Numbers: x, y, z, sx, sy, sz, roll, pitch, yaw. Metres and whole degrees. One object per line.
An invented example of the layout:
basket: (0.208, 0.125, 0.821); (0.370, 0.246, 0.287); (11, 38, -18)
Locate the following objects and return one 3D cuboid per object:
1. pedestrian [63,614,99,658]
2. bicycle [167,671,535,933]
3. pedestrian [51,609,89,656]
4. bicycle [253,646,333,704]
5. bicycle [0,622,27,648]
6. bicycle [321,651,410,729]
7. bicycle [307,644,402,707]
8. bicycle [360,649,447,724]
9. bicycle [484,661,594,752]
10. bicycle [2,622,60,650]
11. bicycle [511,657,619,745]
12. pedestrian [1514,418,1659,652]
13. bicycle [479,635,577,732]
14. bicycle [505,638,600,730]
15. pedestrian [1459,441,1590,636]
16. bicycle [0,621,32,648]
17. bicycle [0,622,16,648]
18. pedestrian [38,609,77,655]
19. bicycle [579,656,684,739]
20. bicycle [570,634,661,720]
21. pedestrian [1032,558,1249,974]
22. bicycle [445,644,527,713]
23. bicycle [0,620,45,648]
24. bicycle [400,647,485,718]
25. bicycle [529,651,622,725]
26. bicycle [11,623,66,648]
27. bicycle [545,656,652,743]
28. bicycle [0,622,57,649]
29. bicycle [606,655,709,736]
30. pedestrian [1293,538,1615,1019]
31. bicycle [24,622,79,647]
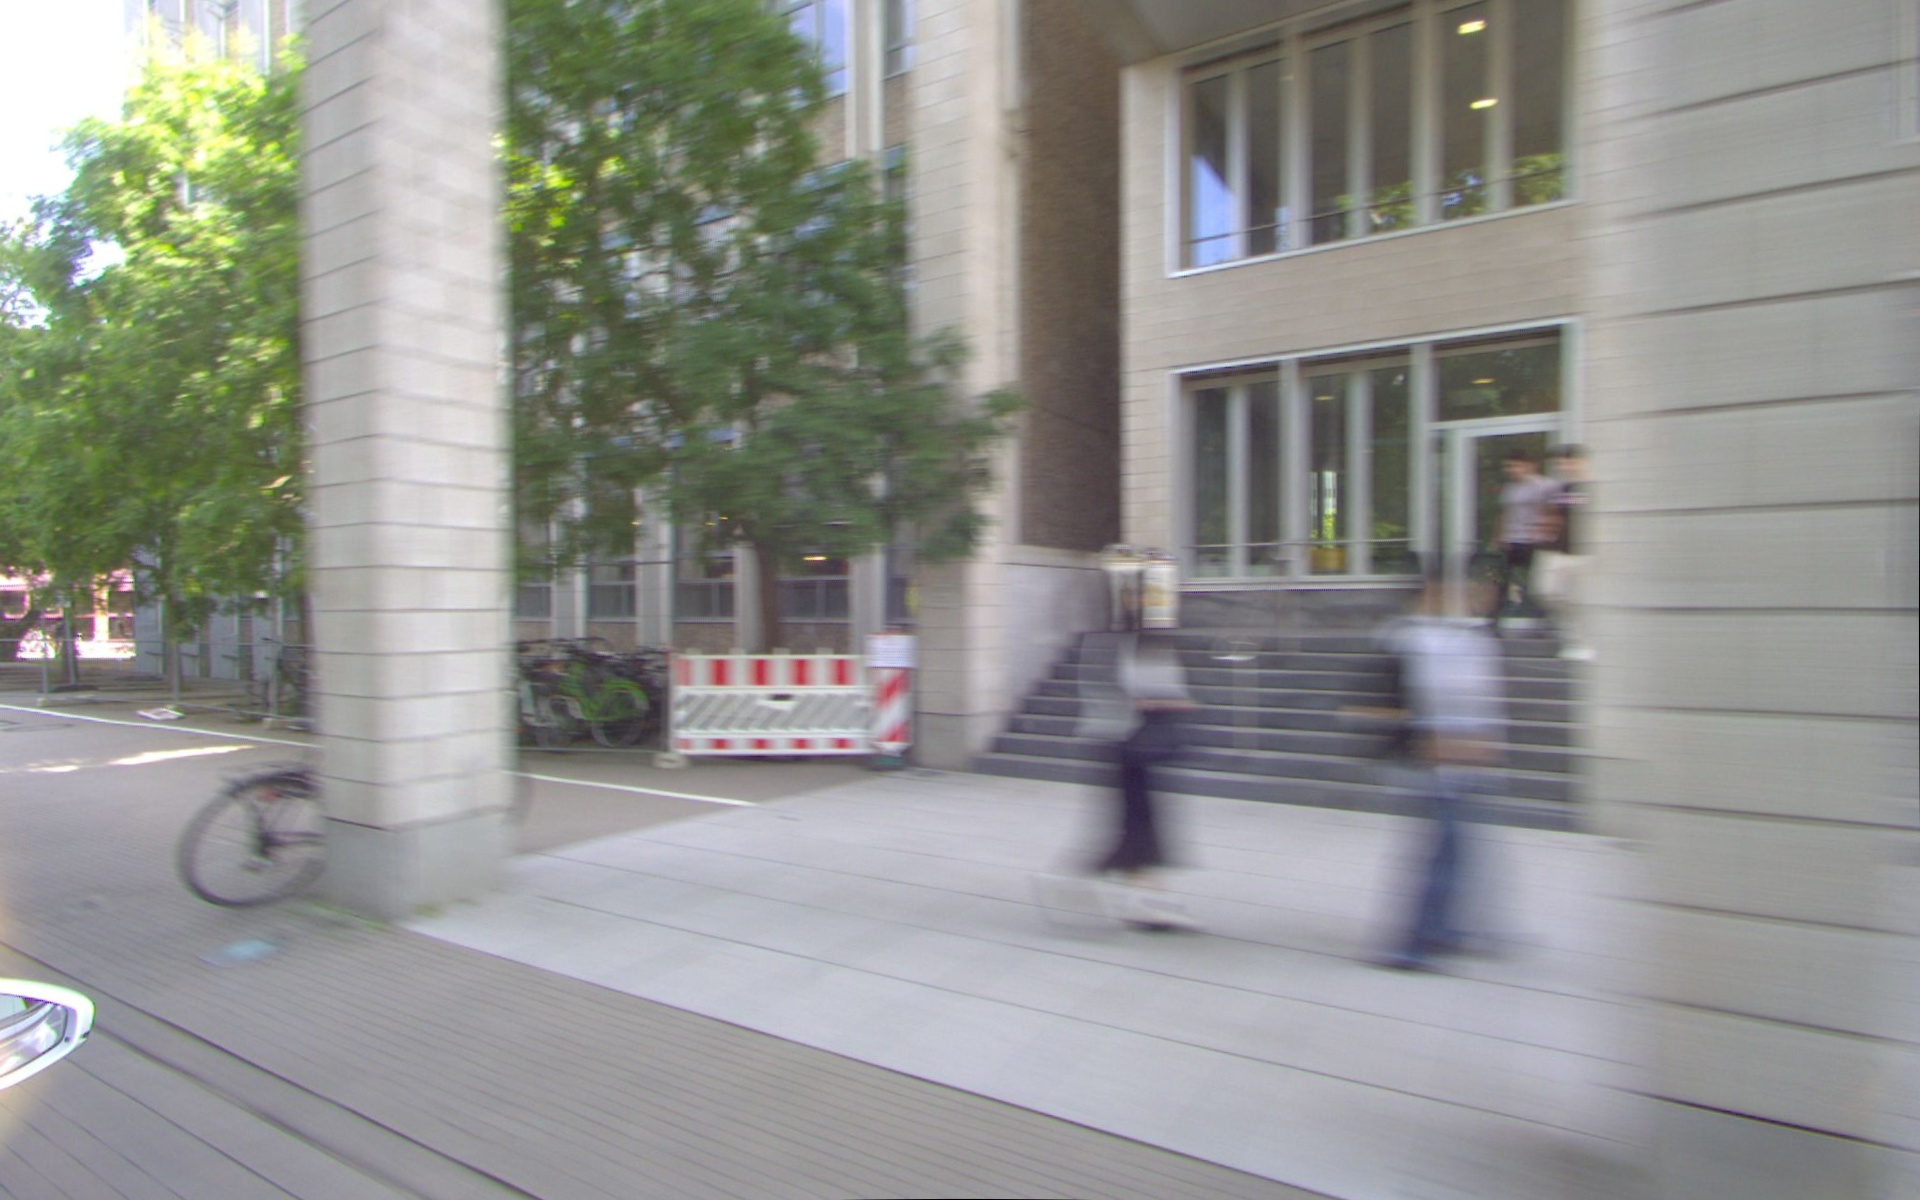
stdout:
pedestrian: (-35.671, 1.472, 40.646); (0.674, 1.750, 0.901); (-3, -1, 27)
bicycle: (-3.178, 0.983, 5.433); (0.442, 1.053, 1.737); (1, 1, 27)
pedestrian: (-34.381, 1.244, 38.695); (0.674, 1.750, 0.901); (-3, -1, 27)
bicycle: (-11.187, 1.243, 16.786); (1.592, 0.917, 0.290); (0, 1, 24)
bicycle: (-41.230, 1.501, 42.844); (0.516, 1.124, 1.808); (0, -2, 29)
bicycle: (-7.581, 1.124, 12.755); (1.426, 0.917, 0.290); (0, 1, 29)
bicycle: (-9.444, 1.158, 15.600); (1.775, 0.917, 0.290); (0, 1, 24)
bicycle: (-7.382, 1.123, 13.261); (1.426, 0.917, 0.290); (0, 1, 29)
bicycle: (-4.661, 1.153, 11.053); (1.426, 0.917, 0.290); (0, 1, 29)
bicycle: (-38.118, 1.464, 41.114); (0.468, 1.124, 1.690); (0, -2, 35)
bicycle: (-4.479, 1.122, 11.335); (1.426, 0.917, 0.290); (0, 1, 29)
pedestrian: (5.216, -0.506, 8.348); (0.870, 1.827, 0.699); (0, 1, -31)
bicycle: (-5.376, 1.014, 12.438); (1.426, 1.143, 0.290); (0, 1, 29)
bicycle: (-5.216, 1.051, 12.800); (1.426, 1.109, 0.290); (0, 1, 29)
pedestrian: (5.153, -0.525, 9.143); (0.870, 1.677, 0.698); (0, 1, -32)
bicycle: (-40.463, 1.463, 42.270); (0.517, 1.124, 1.805); (0, -2, 35)
bicycle: (-42.727, 1.532, 43.925); (0.516, 1.124, 1.807); (0, -2, 30)
pedestrian: (-35.154, 1.259, 39.002); (0.674, 1.750, 0.901); (-3, -1, 27)
bicycle: (-3.931, 1.143, 11.948); (1.426, 0.917, 0.290); (0, 1, 29)
bicycle: (-4.710, 1.028, 13.652); (1.426, 1.113, 0.290); (0, 1, 29)
pedestrian: (0.753, 0.654, 4.382); (0.727, 1.639, 0.807); (0, 1, -7)
bicycle: (-6.834, 1.115, 14.418); (1.426, 0.917, 0.290); (0, 1, 29)
bicycle: (-39.646, 1.422, 41.987); (0.516, 1.124, 1.807); (0, -2, 31)
bicycle: (-7.148, 1.124, 13.820); (1.426, 0.917, 0.290); (0, 1, 29)
bicycle: (-5.042, 1.131, 13.103); (1.426, 0.899, 0.290); (0, 1, 29)
bicycle: (-42.346, 1.624, 46.031); (0.466, 1.124, 1.806); (0, -2, 26)
bicycle: (-4.183, 1.130, 11.563); (1.426, 0.917, 0.290); (0, 1, 29)
bicycle: (-38.986, 1.475, 41.814); (0.517, 1.124, 1.804); (0, -2, 35)
bicycle: (-3.726, 1.157, 12.301); (1.426, 0.917, 0.290); (0, 1, 29)
pedestrian: (1.865, 0.639, 3.893); (0.881, 1.691, 0.675); (-1, -1, -1)
bicycle: (-41.246, 1.551, 45.493); (0.466, 1.124, 1.806); (0, -2, 26)
